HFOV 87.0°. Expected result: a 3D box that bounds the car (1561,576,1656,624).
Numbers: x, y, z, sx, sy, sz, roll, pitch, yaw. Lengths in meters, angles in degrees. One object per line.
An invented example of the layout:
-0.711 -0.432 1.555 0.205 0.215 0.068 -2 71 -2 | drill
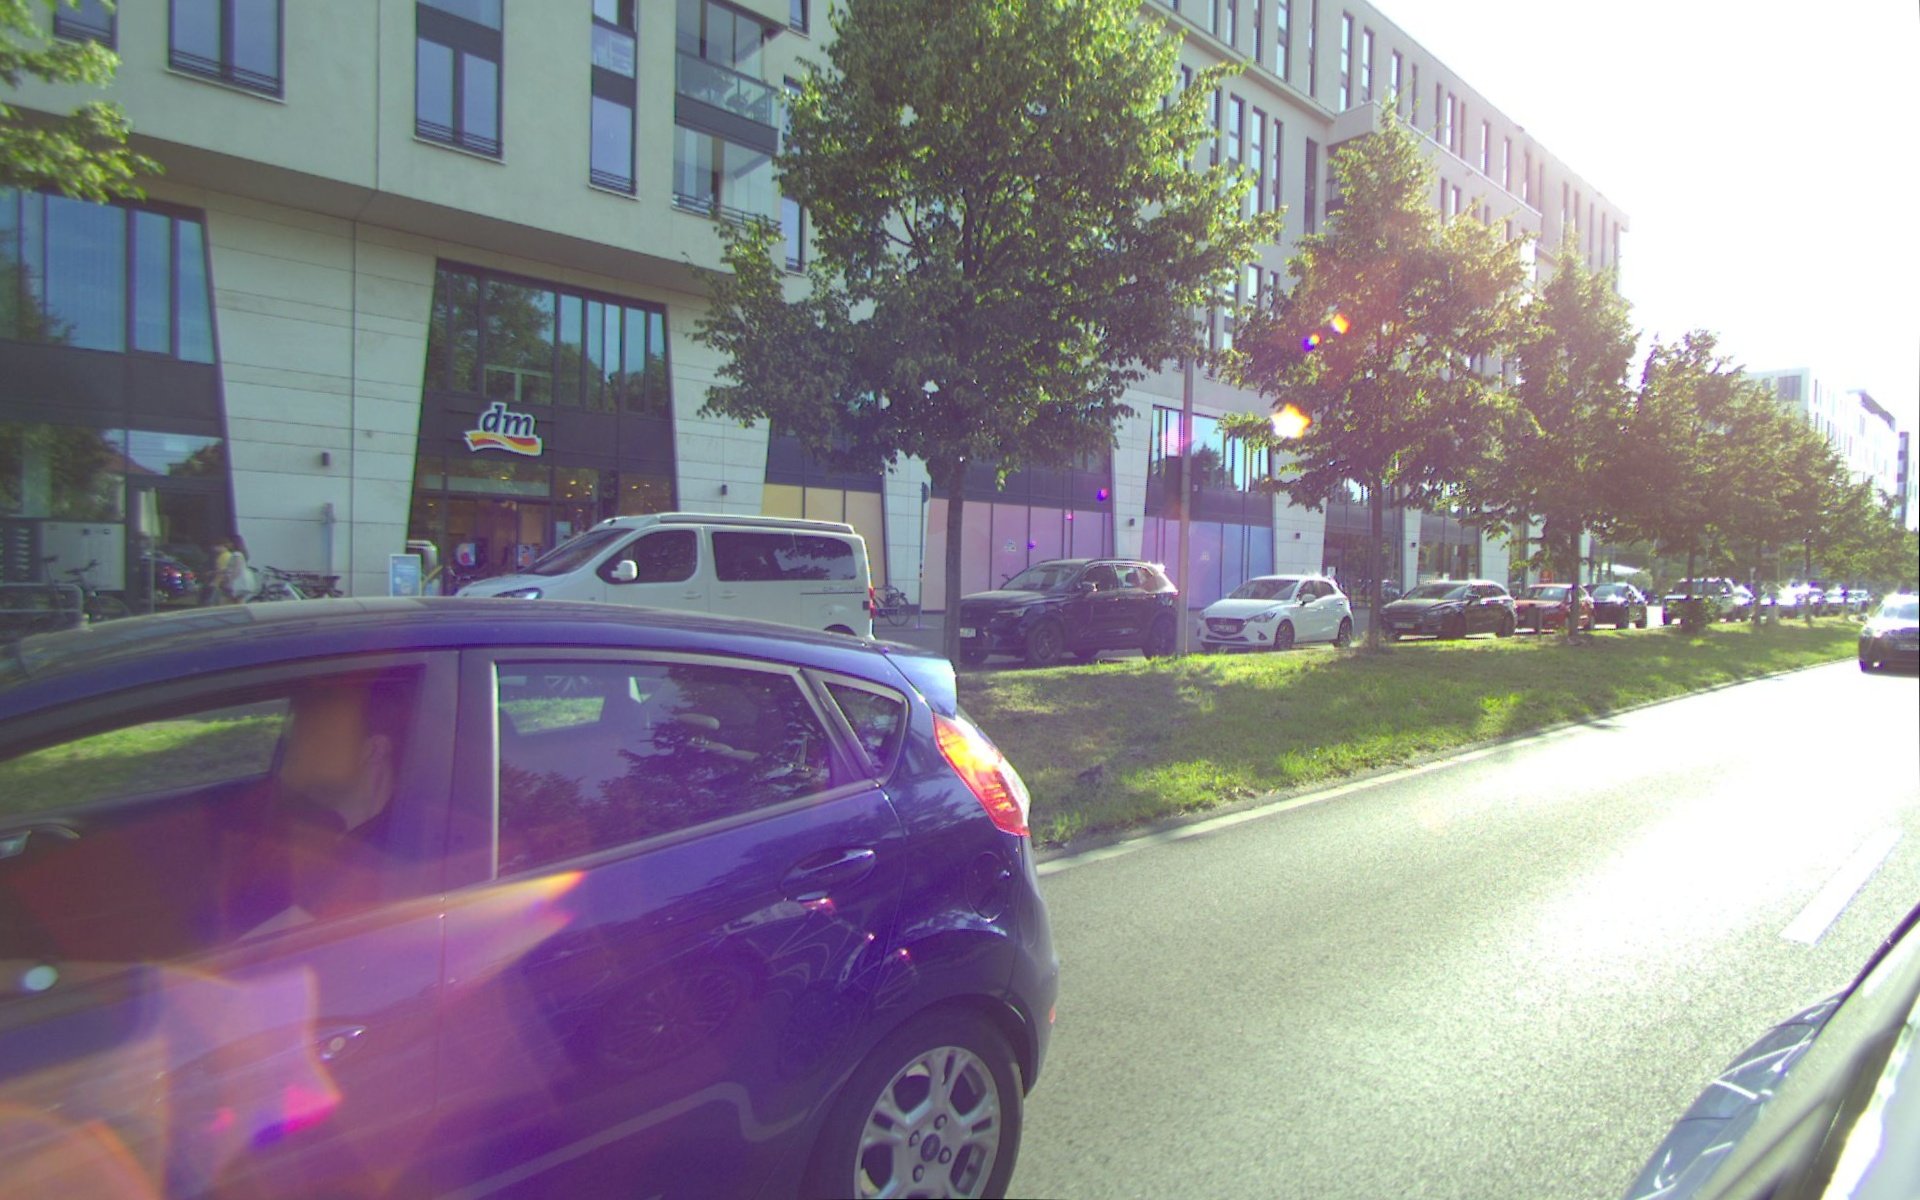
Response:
21.715 -0.030 33.817 1.868 1.510 4.345 0 1 44 | car

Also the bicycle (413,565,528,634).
-8.257 -0.029 17.104 1.711 1.093 0.345 -1 6 -41 | bicycle

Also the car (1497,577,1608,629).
17.670 0.042 30.122 4.044 1.450 1.730 -1 1 -42 | car

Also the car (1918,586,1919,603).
90.006 -0.538 93.507 4.254 1.549 1.838 -1 1 -42 | car

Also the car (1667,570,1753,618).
30.929 -0.276 41.677 4.761 1.898 1.897 -1 1 -42 | car

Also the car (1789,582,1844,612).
47.938 -0.196 56.644 4.254 1.618 1.763 -1 1 -42 | car

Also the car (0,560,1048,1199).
-1.745 0.674 1.652 3.840 1.442 1.562 -1 1 -42 | car

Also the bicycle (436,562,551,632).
-7.785 -0.068 16.927 1.702 1.094 0.345 -1 6 -41 | bicycle

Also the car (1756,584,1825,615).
43.154 -0.068 52.534 4.829 1.507 1.764 -1 1 -38 | car

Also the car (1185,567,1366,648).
6.251 0.091 19.827 4.099 1.430 1.617 -1 1 -44 | car

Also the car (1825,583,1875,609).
55.727 -0.253 63.371 4.254 1.549 1.838 -1 1 -42 | car

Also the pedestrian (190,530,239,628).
-11.916 -0.333 16.173 0.587 1.541 0.514 -1 0 -41 | pedestrian

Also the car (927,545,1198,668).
1.684 0.053 15.739 4.263 1.671 1.731 -1 1 -40 | car

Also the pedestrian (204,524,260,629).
-11.384 -0.363 15.831 0.511 1.594 0.534 0 0 30 | pedestrian

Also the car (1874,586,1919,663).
19.844 0.456 20.498 3.972 1.442 1.696 -1 1 -44 | car

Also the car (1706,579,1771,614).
35.233 -0.175 45.768 4.141 1.507 1.761 -1 1 -44 | car

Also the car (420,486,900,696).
-3.178 -0.127 11.516 4.946 1.899 1.840 -1 1 -42 | car

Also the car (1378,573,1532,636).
12.483 0.058 25.407 4.638 1.450 1.732 -1 1 -40 | car
